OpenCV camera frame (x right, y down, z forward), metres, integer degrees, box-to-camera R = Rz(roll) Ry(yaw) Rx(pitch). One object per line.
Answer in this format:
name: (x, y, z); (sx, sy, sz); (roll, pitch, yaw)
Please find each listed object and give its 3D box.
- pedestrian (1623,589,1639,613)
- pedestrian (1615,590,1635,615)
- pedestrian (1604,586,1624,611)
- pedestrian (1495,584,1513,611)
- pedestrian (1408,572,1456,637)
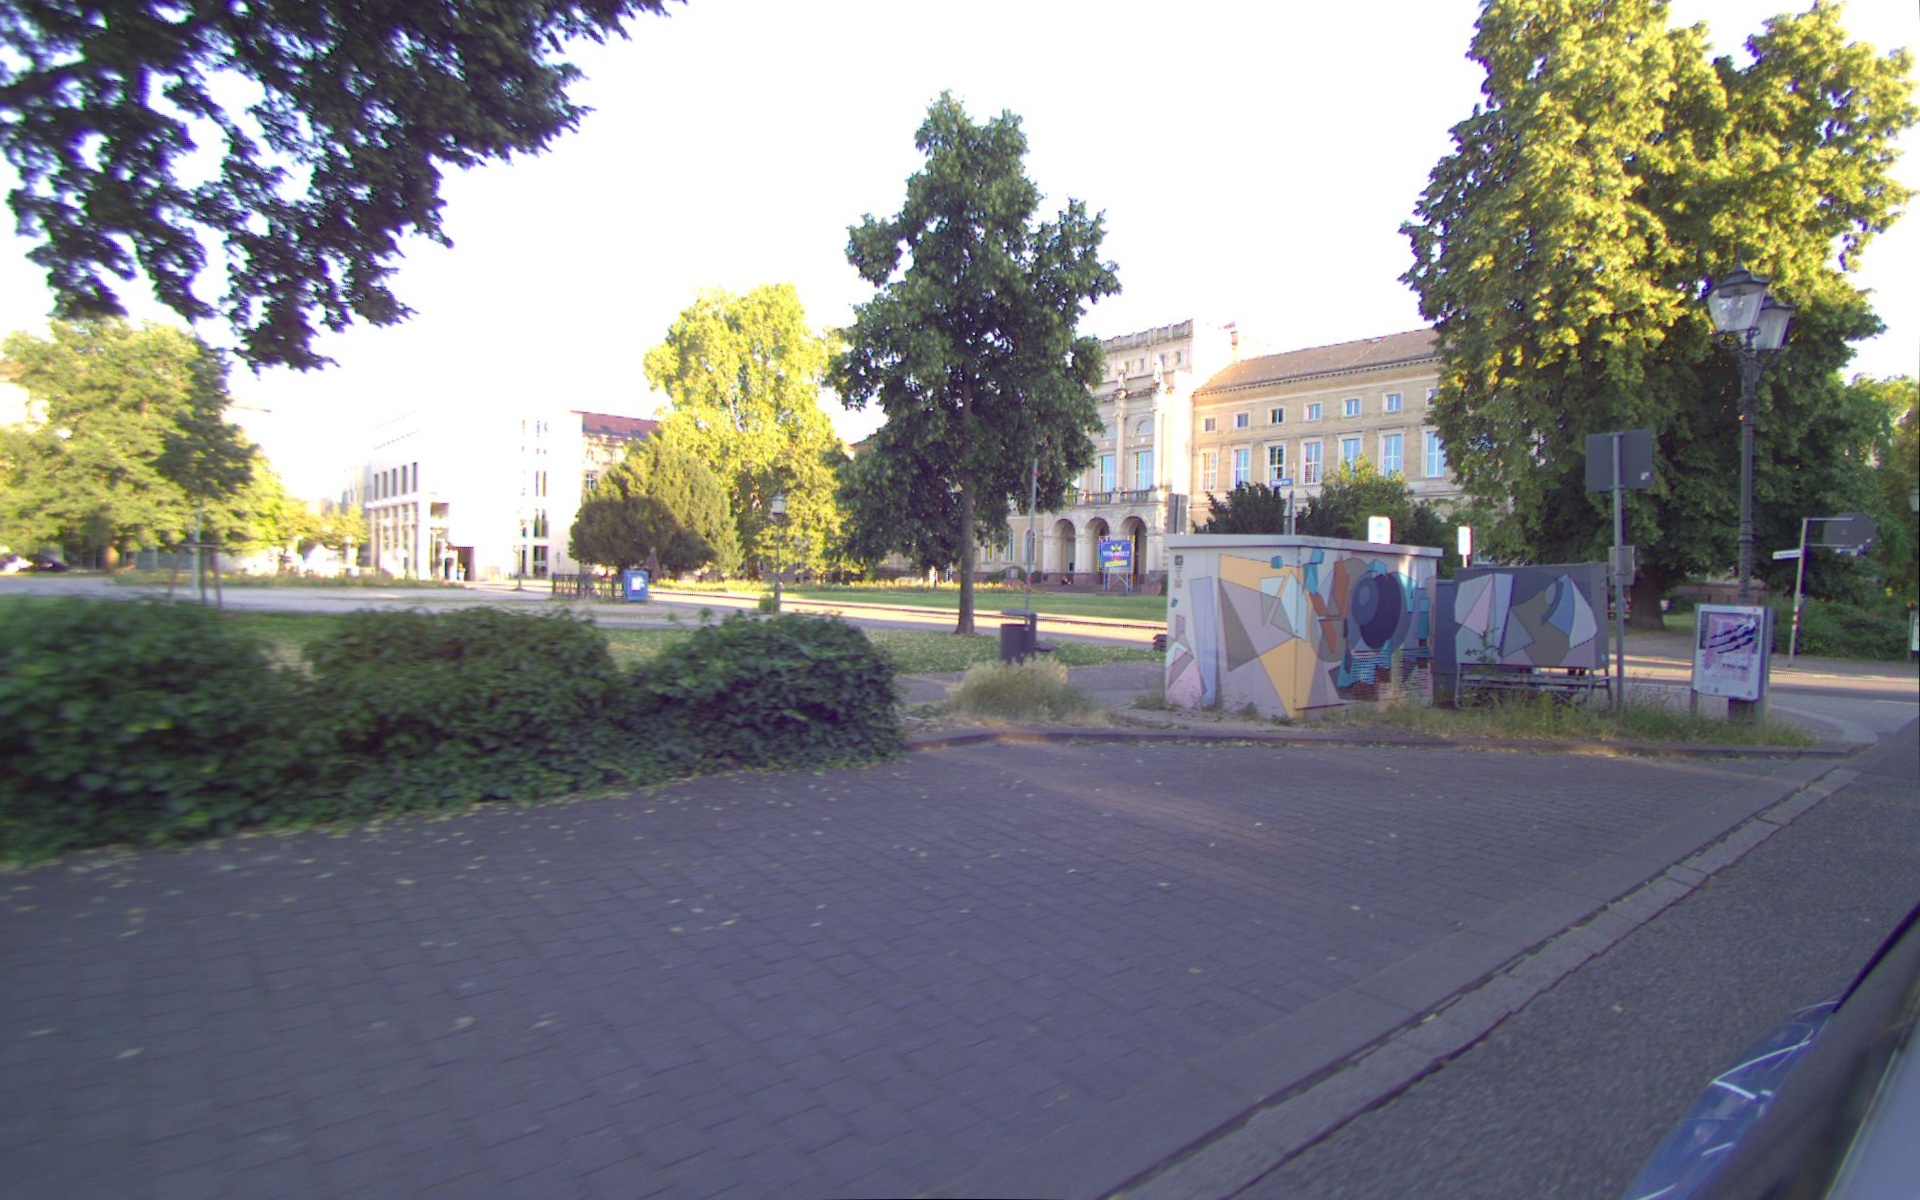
pedestrian: (29.538, 0.045, 44.558); (0.390, 1.063, 0.600); (2, 1, 19)
pedestrian: (28.668, 0.093, 43.614); (0.595, 1.063, 0.394); (2, 1, 14)
pedestrian: (28.643, -0.083, 44.338); (0.596, 1.063, 0.393); (2, 1, 17)
pedestrian: (24.886, -0.121, 46.278); (0.594, 1.217, 0.394); (1, 1, 9)
pedestrian: (12.430, 0.111, 26.668); (0.743, 1.646, 0.858); (0, 1, -39)
